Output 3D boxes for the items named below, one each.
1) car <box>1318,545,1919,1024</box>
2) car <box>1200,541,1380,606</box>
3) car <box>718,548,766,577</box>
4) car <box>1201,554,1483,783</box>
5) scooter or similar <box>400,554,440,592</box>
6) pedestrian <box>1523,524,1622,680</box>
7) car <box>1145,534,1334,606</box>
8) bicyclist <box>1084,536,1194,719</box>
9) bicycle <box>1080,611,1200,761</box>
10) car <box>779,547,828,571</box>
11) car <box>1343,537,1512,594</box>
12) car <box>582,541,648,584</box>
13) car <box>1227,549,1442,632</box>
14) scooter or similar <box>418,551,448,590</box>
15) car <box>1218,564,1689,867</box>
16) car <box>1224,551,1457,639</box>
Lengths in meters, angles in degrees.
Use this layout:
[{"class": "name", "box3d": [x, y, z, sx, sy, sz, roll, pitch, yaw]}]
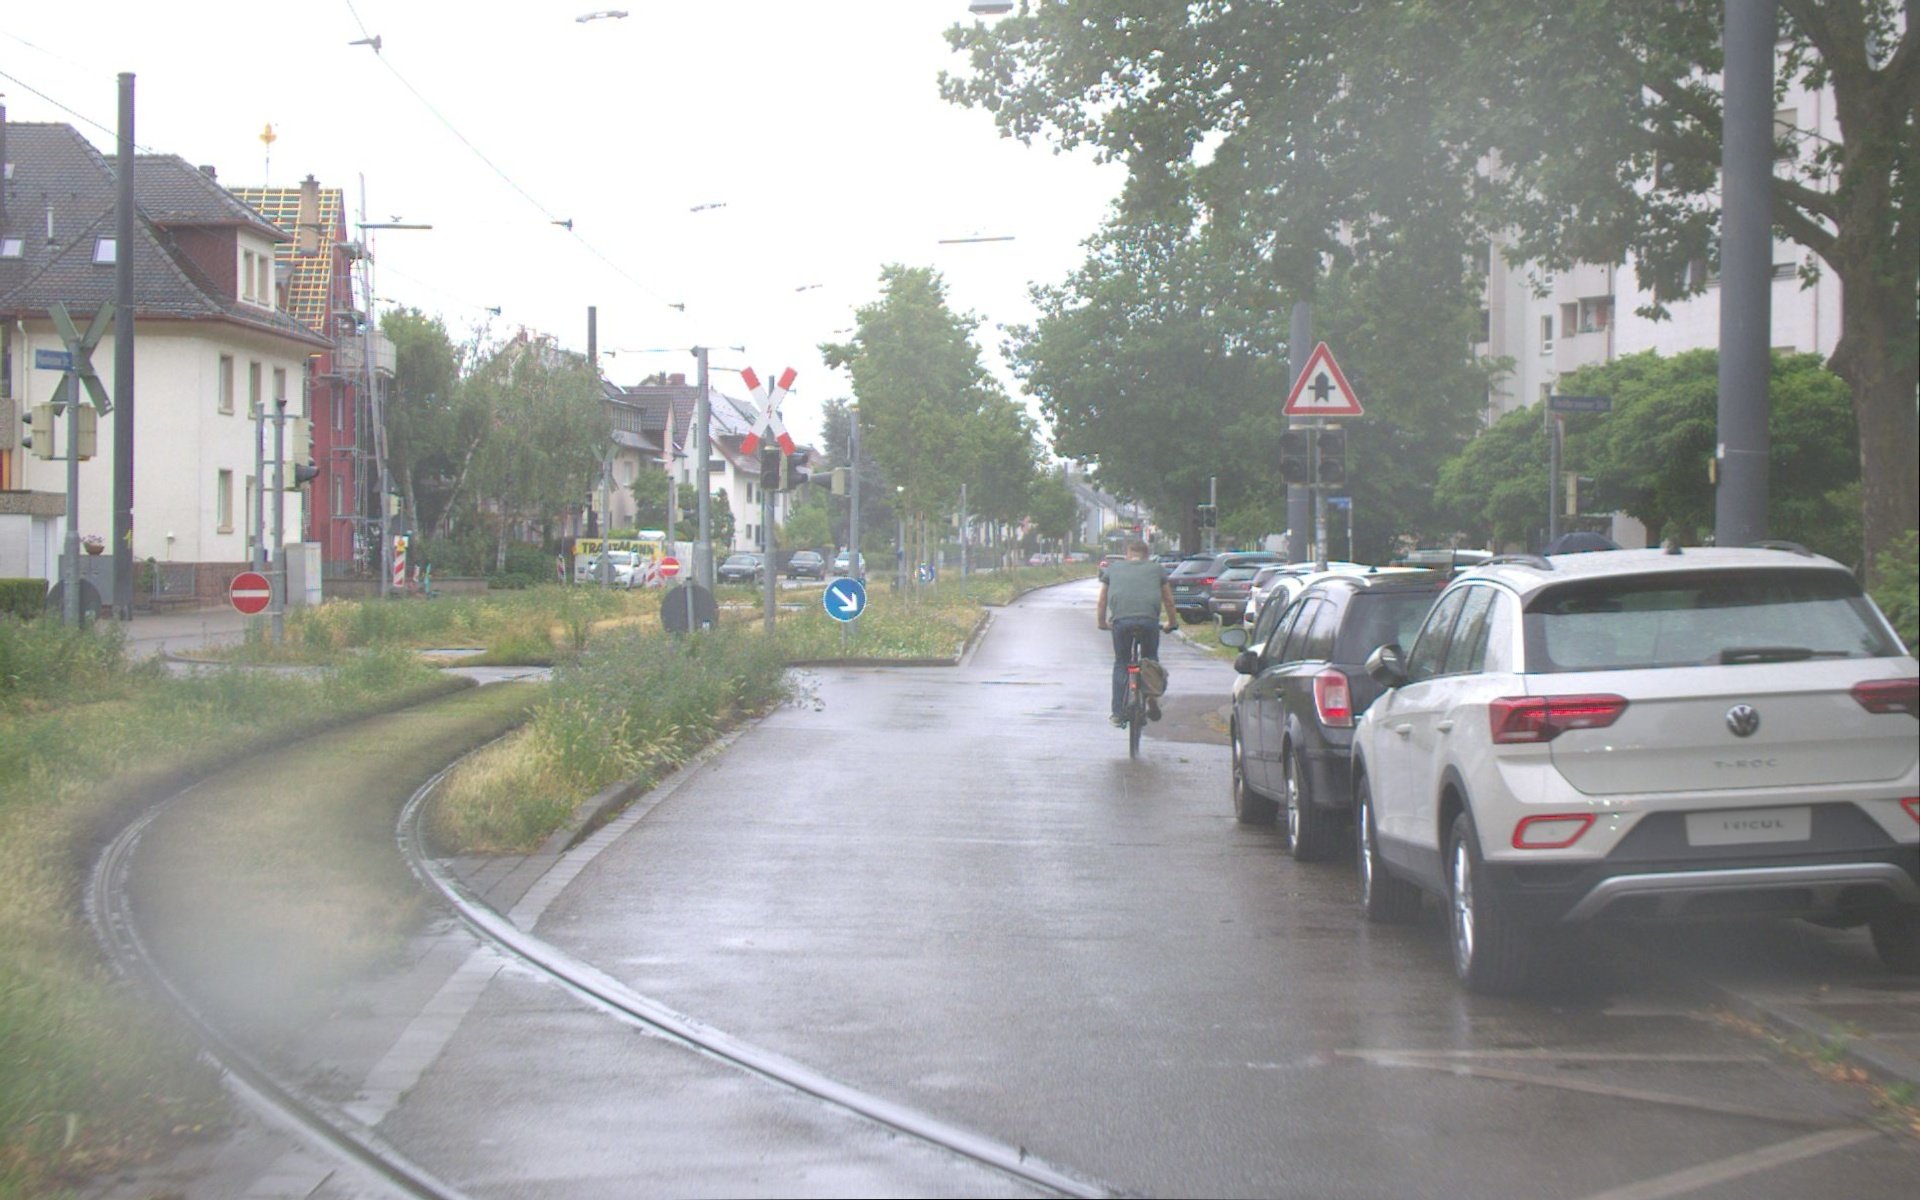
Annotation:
[{"class": "car", "box3d": [2.601, 0.574, 13.382, 1.899, 1.569, 4.112, 0, 1, -1]}, {"class": "car", "box3d": [7.472, -0.614, 77.669, 3.988, 1.424, 1.734, -1, 1, -39]}, {"class": "car", "box3d": [-10.164, -1.775, 160.696, 1.663, 1.240, 4.071, 3, 1, 4]}, {"class": "car", "box3d": [2.700, 0.434, 25.028, 1.558, 1.514, 4.000, 0, 1, -1]}, {"class": "scooter or similar", "box3d": [-16.090, -0.816, 102.516, 0.441, 1.125, 1.280, 1, 1, 32]}, {"class": "pedestrian", "box3d": [7.280, 0.014, 40.809, 1.100, 1.807, 1.433, 1, 1, 12]}, {"class": "car", "box3d": [6.602, -0.737, 80.943, 4.337, 1.645, 1.857, -1, 1, -39]}, {"class": "bicyclist", "box3d": [1.418, 0.203, 27.422, 0.809, 1.428, 1.060, 0, 1, 0]}, {"class": "bicycle", "box3d": [1.415, 0.658, 27.441, 0.809, 1.093, 2.517, 0, 1, 0]}, {"class": "car", "box3d": [-8.487, -2.233, 186.546, 1.897, 1.240, 4.686, 3, 1, 6]}, {"class": "car", "box3d": [14.466, -1.068, 106.477, 4.801, 1.739, 2.001, 0, 1, -12]}, {"class": "car", "box3d": [-13.140, -1.449, 131.086, 1.710, 1.537, 4.421, 3, 1, 4]}, {"class": "car", "box3d": [7.193, -0.189, 65.882, 3.988, 1.503, 1.705, -1, -1, -37]}, {"class": "scooter or similar", "box3d": [-16.185, -0.912, 105.624, 0.394, 1.176, 1.282, 1, 1, 17]}, {"class": "car", "box3d": [2.569, 0.541, 18.879, 1.899, 1.444, 4.184, 0, 1, -1]}, {"class": "car", "box3d": [6.958, -0.096, 62.770, 3.987, 1.503, 1.784, -1, -1, -34]}]
